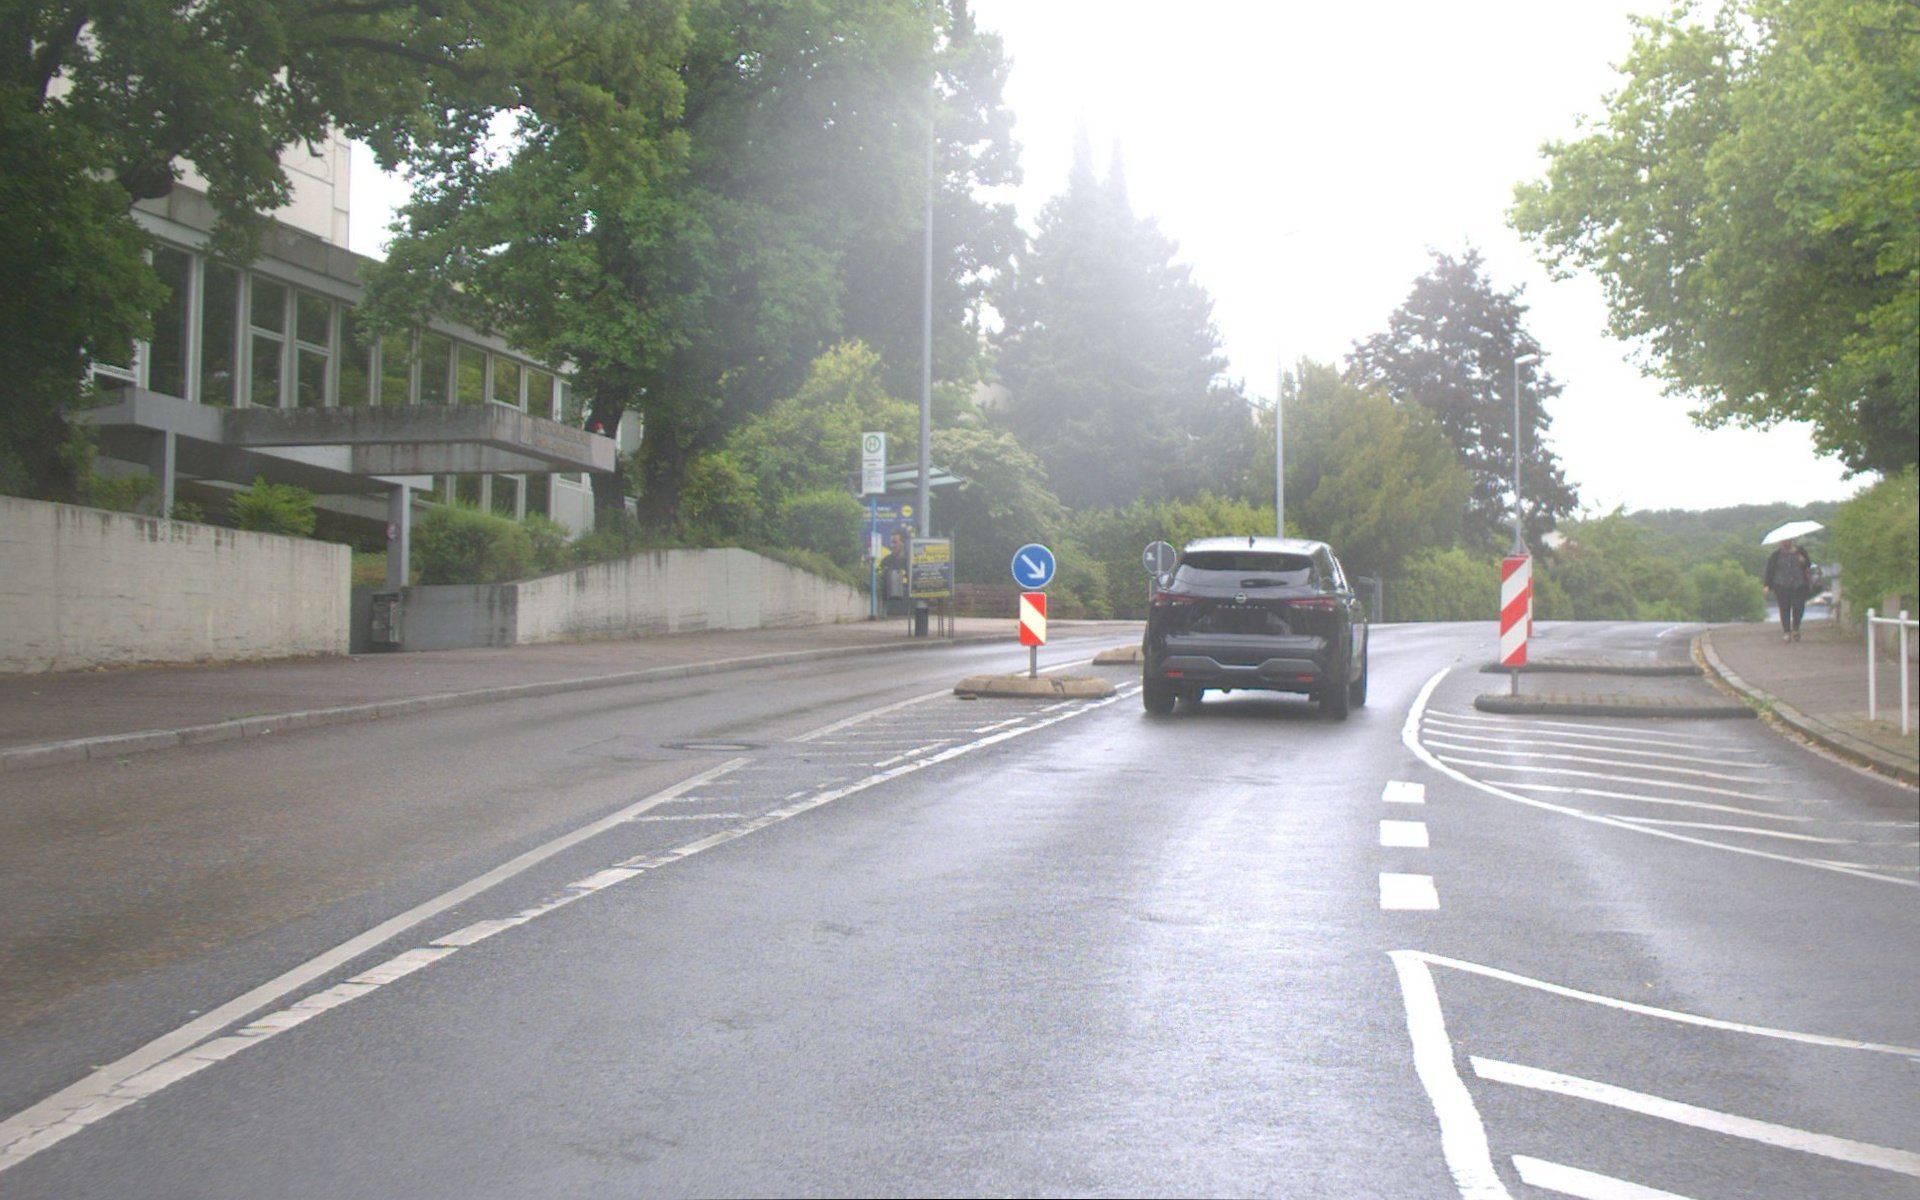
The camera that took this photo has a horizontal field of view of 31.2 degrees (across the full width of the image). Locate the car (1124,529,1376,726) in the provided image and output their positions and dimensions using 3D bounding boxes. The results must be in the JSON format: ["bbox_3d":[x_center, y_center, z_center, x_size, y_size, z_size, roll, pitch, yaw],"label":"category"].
[{"bbox_3d":[2.748,0.204,31.817,1.929,1.607,3.999,3,1,9],"label":"car"}]

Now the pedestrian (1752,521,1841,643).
[{"bbox_3d":[12.009,-0.257,49.389,1.084,1.716,1.166,-1,0,7],"label":"pedestrian"}]
